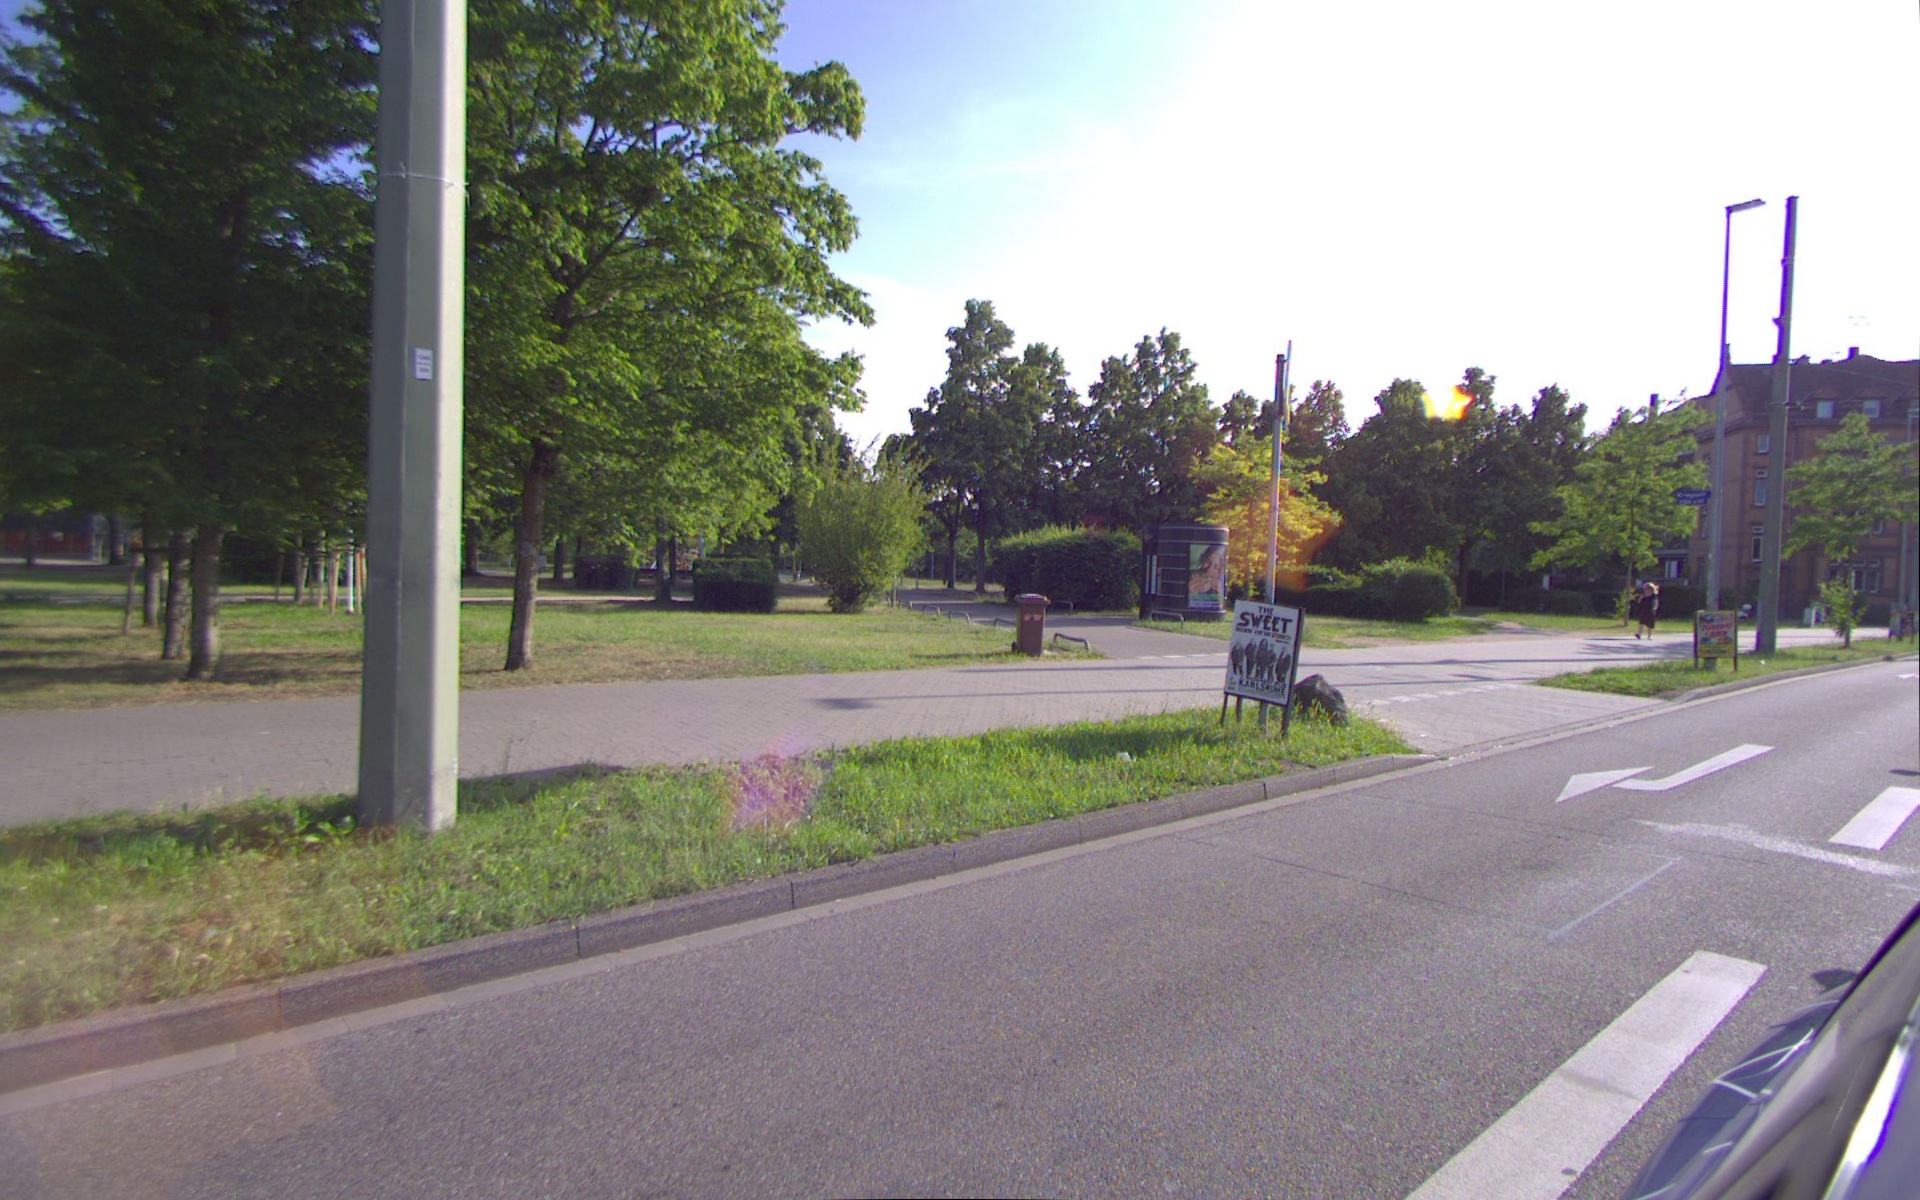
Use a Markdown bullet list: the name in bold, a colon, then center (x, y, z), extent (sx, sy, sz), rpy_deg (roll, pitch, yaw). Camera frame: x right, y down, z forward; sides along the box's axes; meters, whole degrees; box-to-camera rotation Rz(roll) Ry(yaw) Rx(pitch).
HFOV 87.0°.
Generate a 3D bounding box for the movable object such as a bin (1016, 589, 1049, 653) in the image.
- **movable object such as a bin**: center (1.098, 0.304, 15.429), extent (0.447, 0.929, 0.605), rpy_deg (2, 2, 1)

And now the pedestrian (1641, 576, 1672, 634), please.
- **pedestrian**: center (20.769, 0.156, 30.166), extent (0.607, 1.706, 0.621), rpy_deg (1, 0, -40)
